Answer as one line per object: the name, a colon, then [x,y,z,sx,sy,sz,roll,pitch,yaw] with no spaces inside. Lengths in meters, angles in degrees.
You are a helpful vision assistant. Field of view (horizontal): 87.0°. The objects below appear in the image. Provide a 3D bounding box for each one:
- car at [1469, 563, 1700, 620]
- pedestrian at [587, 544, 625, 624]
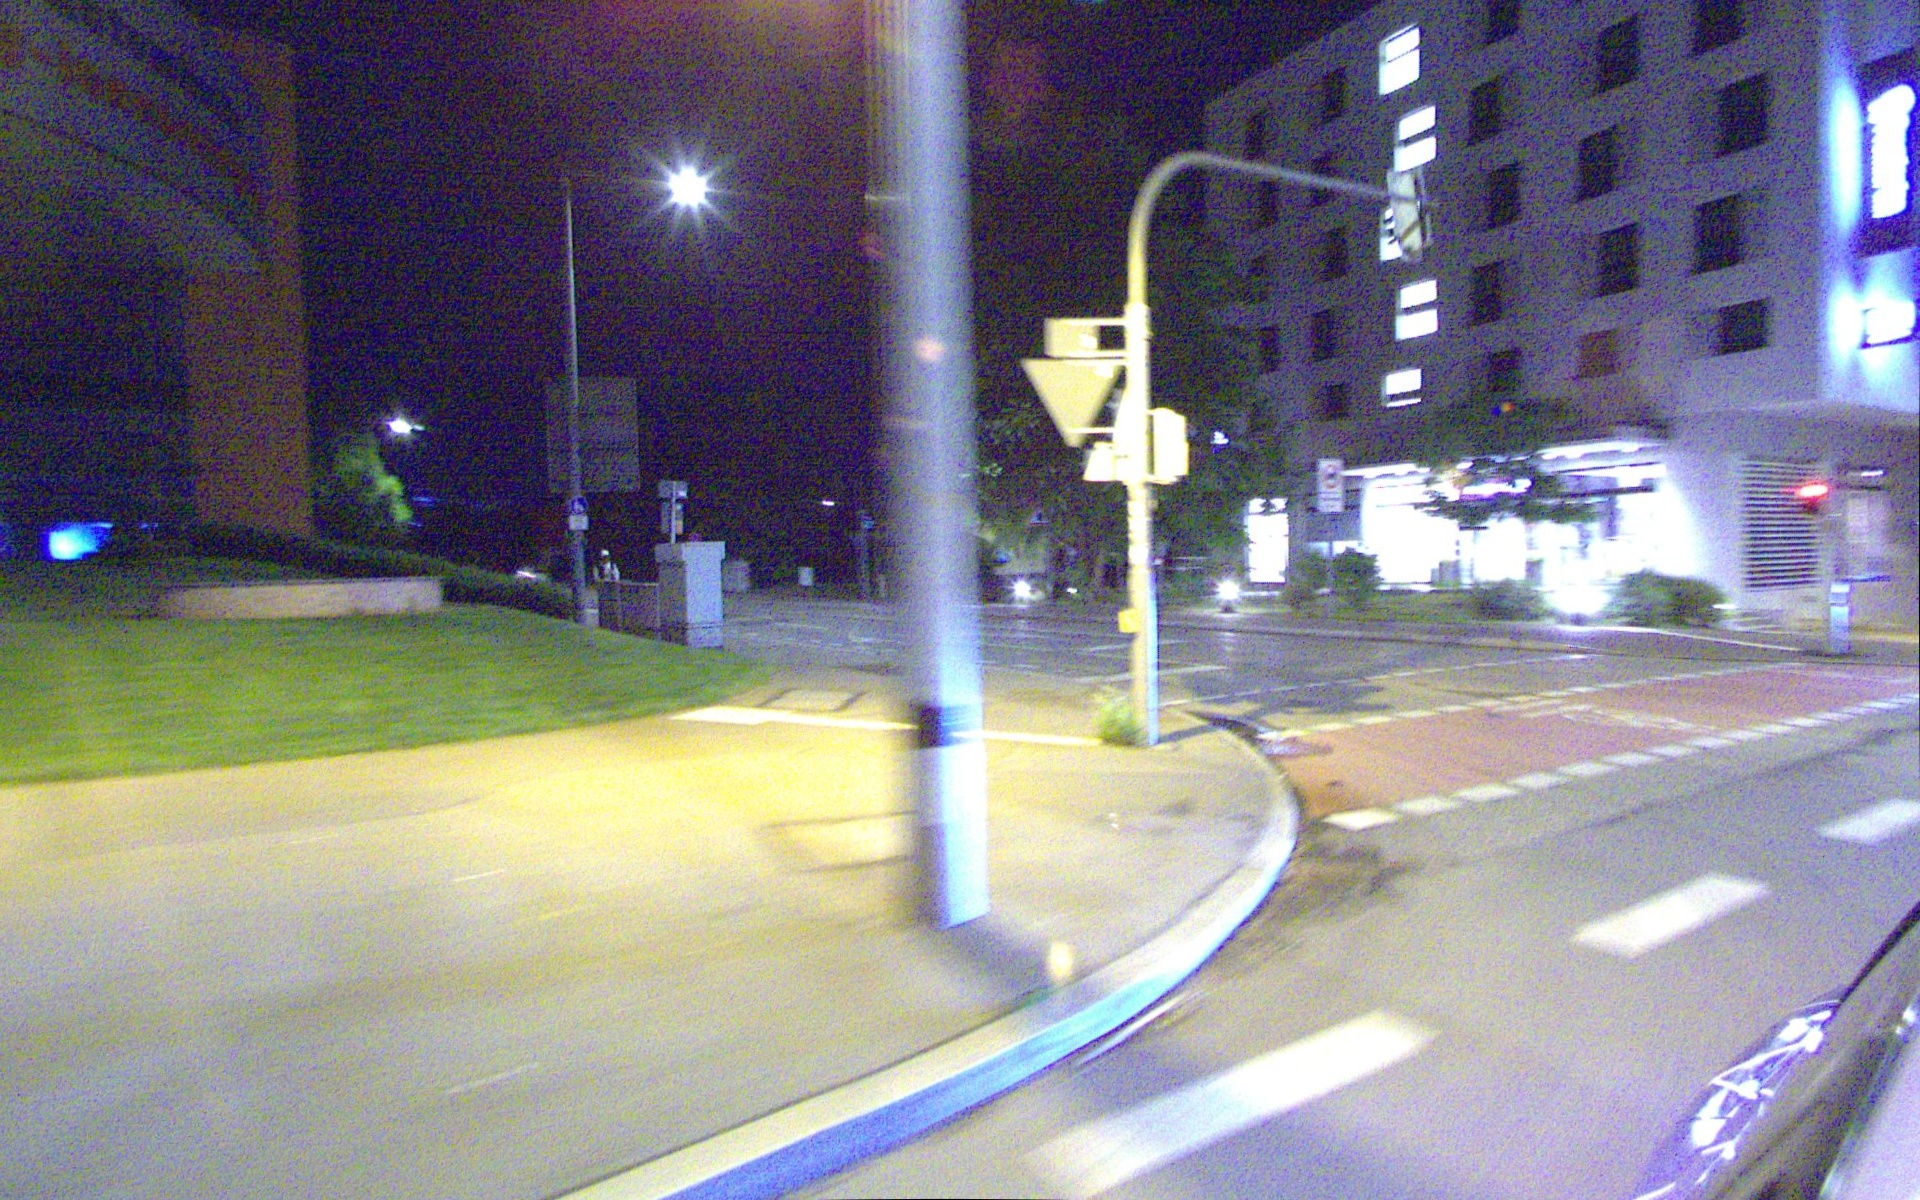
car: [13.351,-0.200,21.865,3.945,1.047,1.476,2,1,17]
pedestrian: [-8.564,-0.387,24.493,0.718,1.900,0.664,0,0,-35]
